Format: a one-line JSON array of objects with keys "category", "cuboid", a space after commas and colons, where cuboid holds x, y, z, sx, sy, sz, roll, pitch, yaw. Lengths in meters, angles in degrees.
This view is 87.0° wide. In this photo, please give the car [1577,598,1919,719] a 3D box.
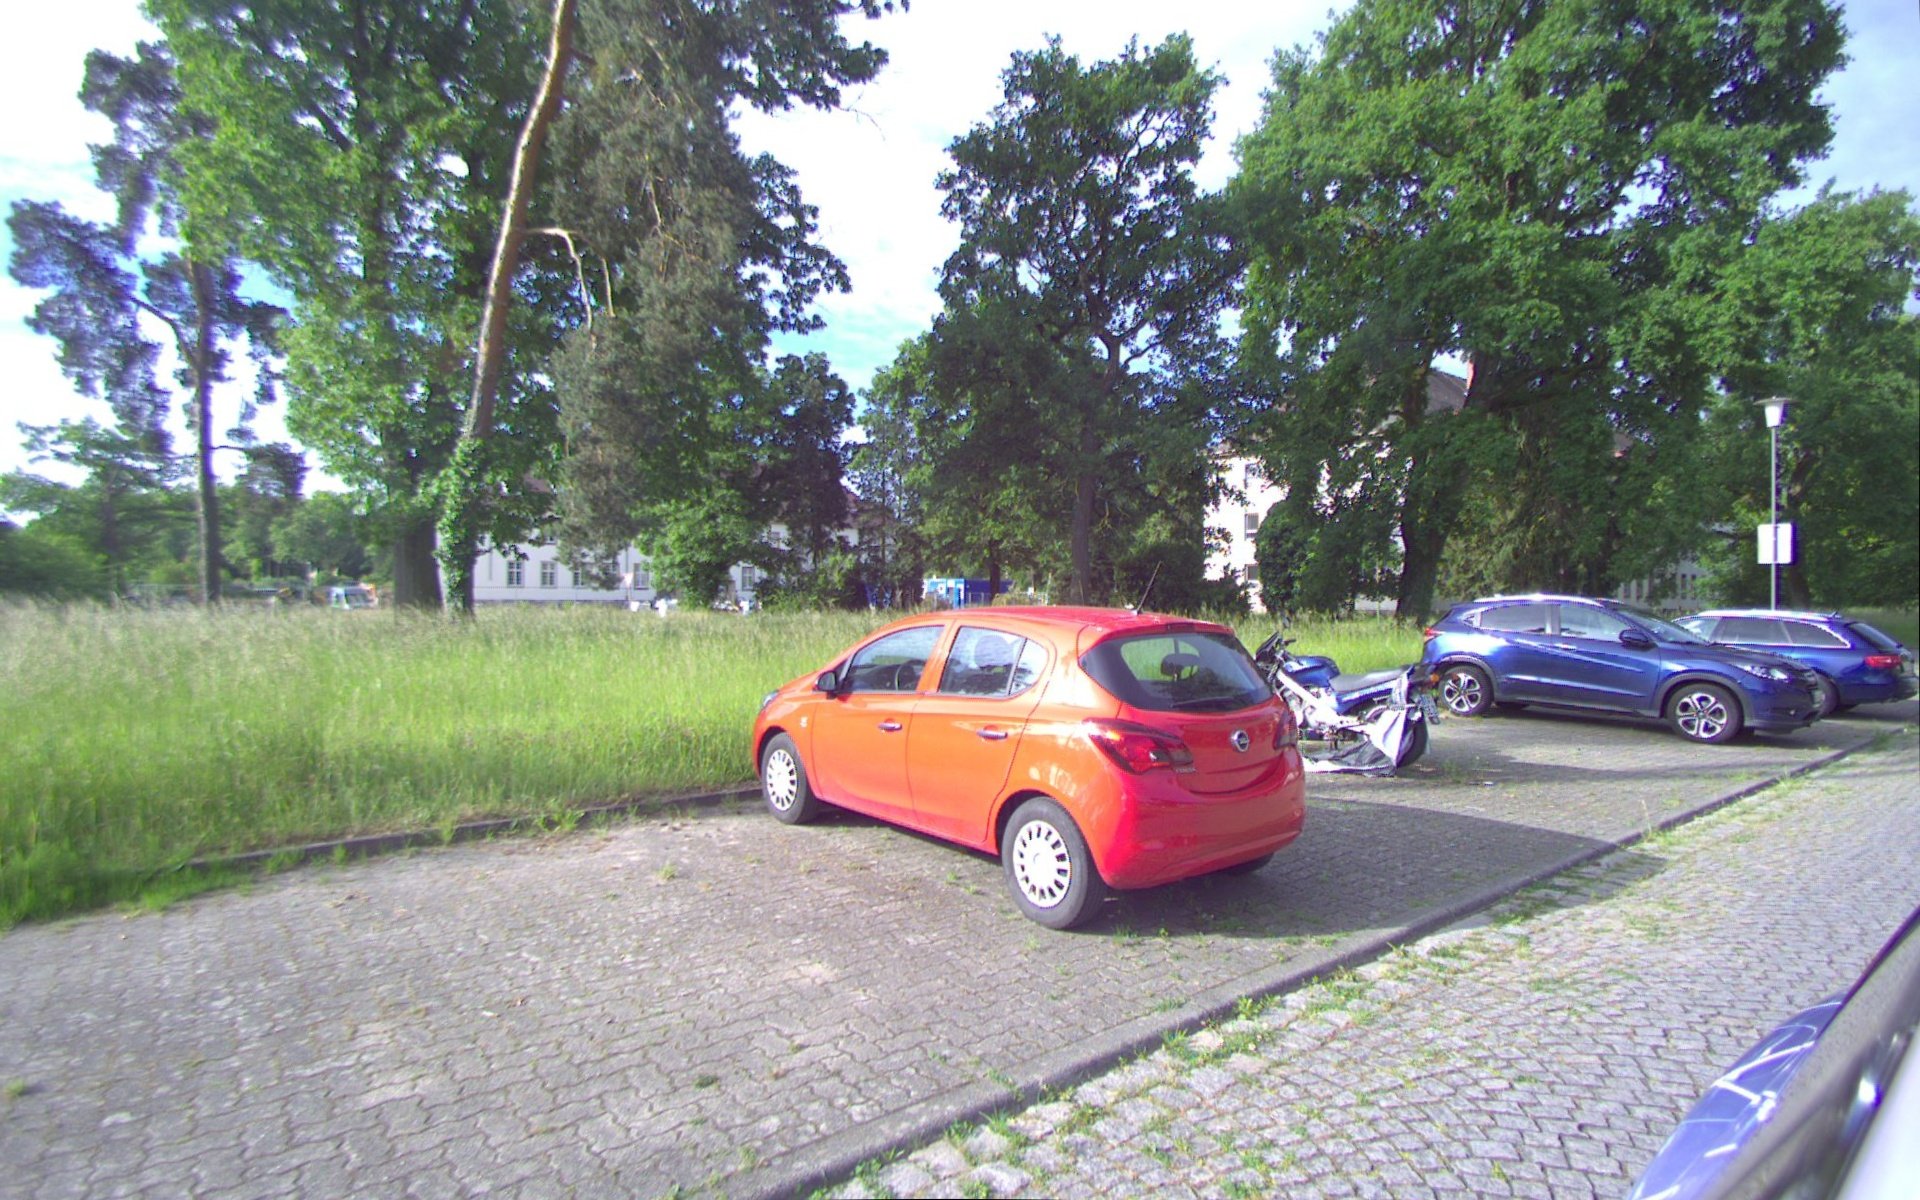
[{"category": "car", "cuboid": [11.833, 0.747, 15.187, 1.750, 1.468, 4.038, -1, 1, -36]}]

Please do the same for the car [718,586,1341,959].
[{"category": "car", "cuboid": [0.126, 0.698, 6.276, 1.657, 1.491, 3.886, -1, 2, -39]}]

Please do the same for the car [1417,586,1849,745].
[{"category": "car", "cuboid": [8.079, 0.641, 12.501, 1.715, 1.588, 4.135, -1, 1, -39]}]

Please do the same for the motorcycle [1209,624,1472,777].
[{"category": "motorcycle", "cuboid": [3.409, 0.845, 9.330, 0.595, 1.127, 2.308, -1, 2, -37]}]
